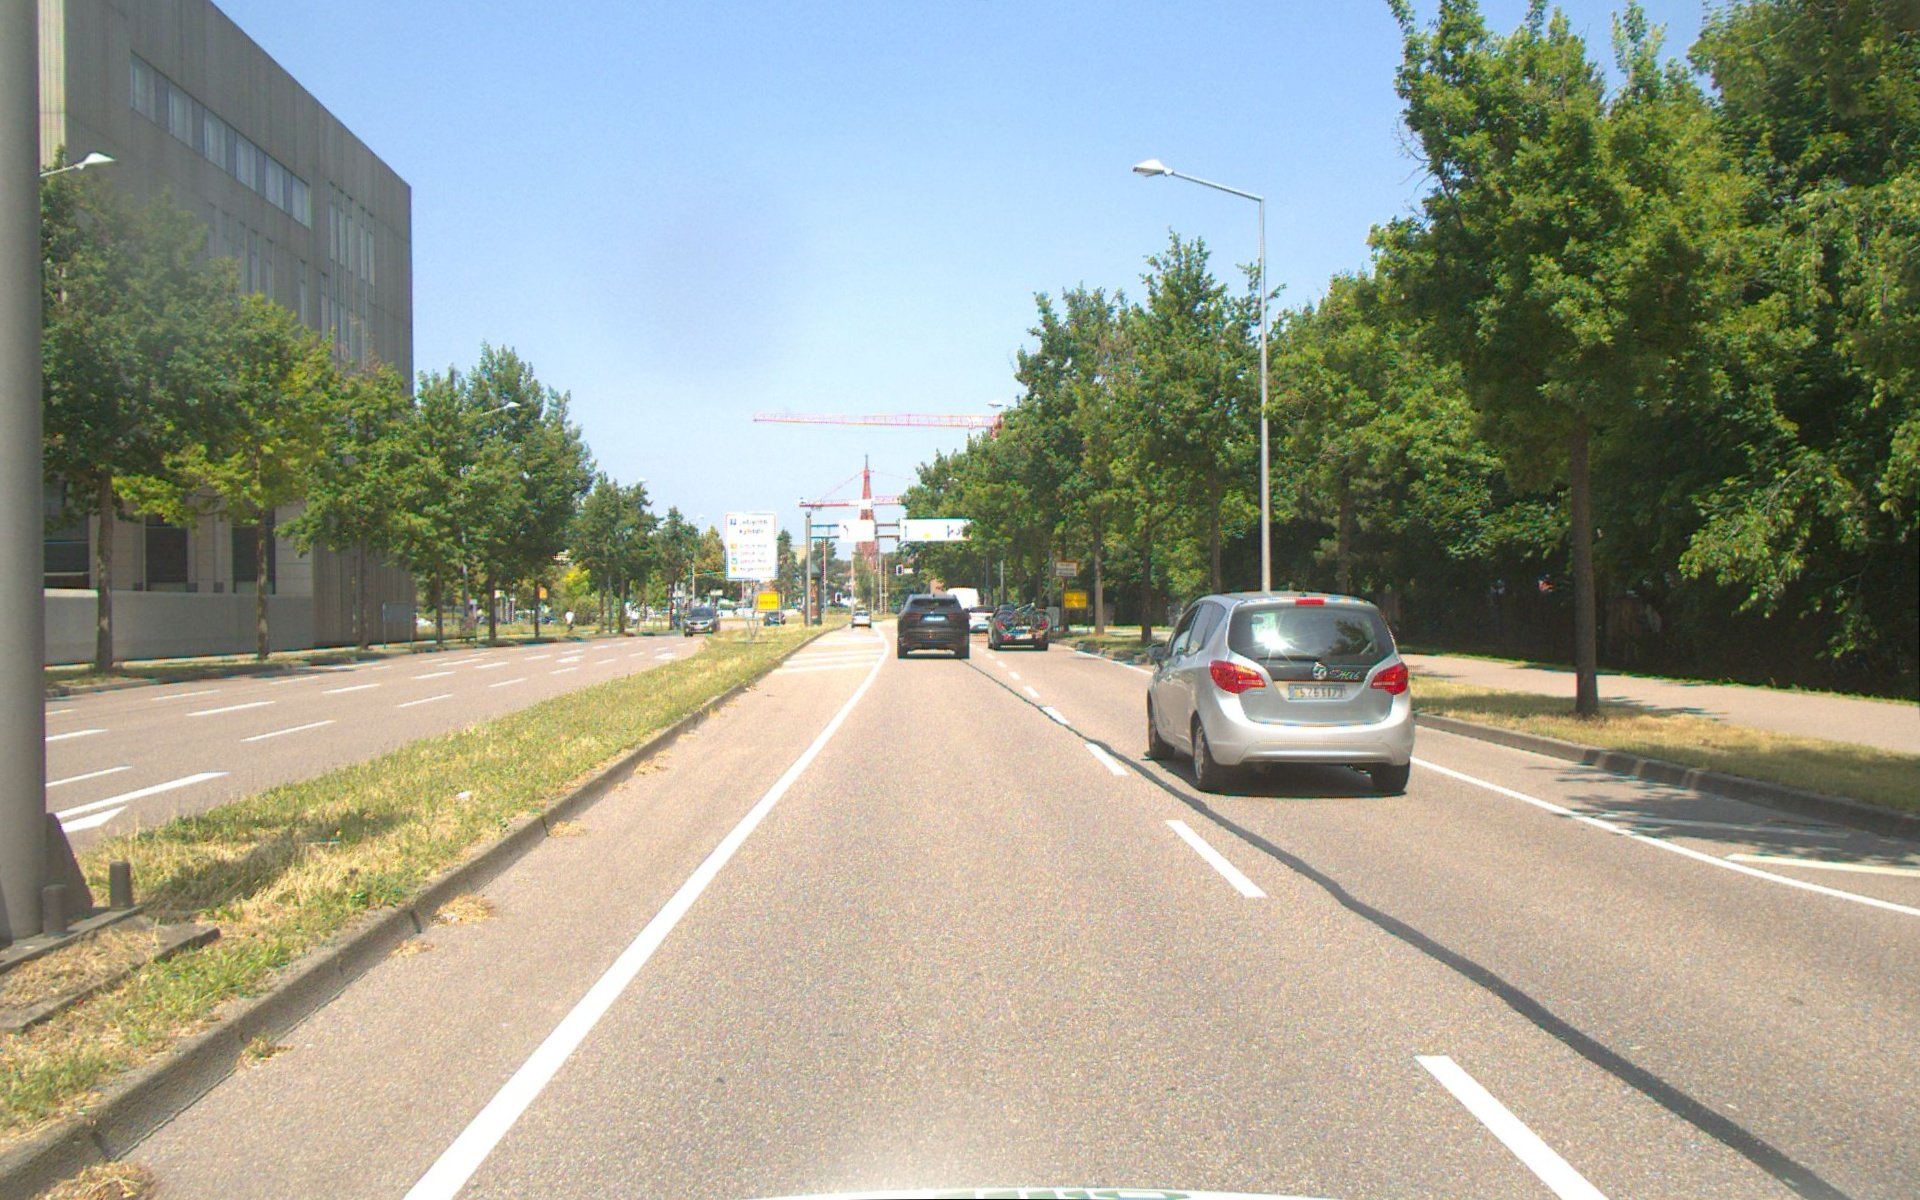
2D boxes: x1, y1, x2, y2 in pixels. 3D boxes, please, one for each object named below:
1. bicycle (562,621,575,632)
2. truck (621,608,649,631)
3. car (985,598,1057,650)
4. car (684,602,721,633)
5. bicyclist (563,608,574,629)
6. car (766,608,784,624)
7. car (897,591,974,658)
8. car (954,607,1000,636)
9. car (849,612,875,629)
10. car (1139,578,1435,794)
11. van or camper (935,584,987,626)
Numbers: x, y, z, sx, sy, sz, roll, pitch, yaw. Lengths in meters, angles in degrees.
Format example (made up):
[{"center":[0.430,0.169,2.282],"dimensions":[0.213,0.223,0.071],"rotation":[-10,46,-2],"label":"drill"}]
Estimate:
[{"center":[-28.203,1.915,119.182],"dimensions":[0.471,0.728,1.850],"rotation":[-1,-1,0],"label":"bicycle"},{"center":[-37.644,2.231,191.646],"dimensions":[2.587,2.622,6.311],"rotation":[0,-1,-5],"label":"truck"},{"center":[1.874,0.740,52.033],"dimensions":[1.973,1.544,4.459],"rotation":[-1,0,-1],"label":"car"},{"center":[-13.625,0.907,87.654],"dimensions":[1.674,1.497,3.937],"rotation":[-2,0,-5],"label":"car"},{"center":[-28.242,1.328,119.221],"dimensions":[0.610,1.515,0.757],"rotation":[-1,-1,0],"label":"bicyclist"},{"center":[-19.557,1.699,174.993],"dimensions":[1.856,1.639,4.529],"rotation":[-1,0,-5],"label":"car"},{"center":[-0.683,0.629,44.251],"dimensions":[1.957,1.719,4.032],"rotation":[0,0,-2],"label":"car"},{"center":[0.826,1.056,82.576],"dimensions":[1.623,1.380,4.452],"rotation":[-1,0,-8],"label":"car"},{"center":[-8.610,1.784,145.067],"dimensions":[1.956,1.344,3.993],"rotation":[0,0,-7],"label":"car"},{"center":[2.701,0.657,14.529],"dimensions":[1.756,1.640,3.890],"rotation":[0,0,-1],"label":"car"},{"center":[0.026,0.309,95.854],"dimensions":[2.446,2.331,4.913],"rotation":[-1,0,-7],"label":"van or camper"}]
